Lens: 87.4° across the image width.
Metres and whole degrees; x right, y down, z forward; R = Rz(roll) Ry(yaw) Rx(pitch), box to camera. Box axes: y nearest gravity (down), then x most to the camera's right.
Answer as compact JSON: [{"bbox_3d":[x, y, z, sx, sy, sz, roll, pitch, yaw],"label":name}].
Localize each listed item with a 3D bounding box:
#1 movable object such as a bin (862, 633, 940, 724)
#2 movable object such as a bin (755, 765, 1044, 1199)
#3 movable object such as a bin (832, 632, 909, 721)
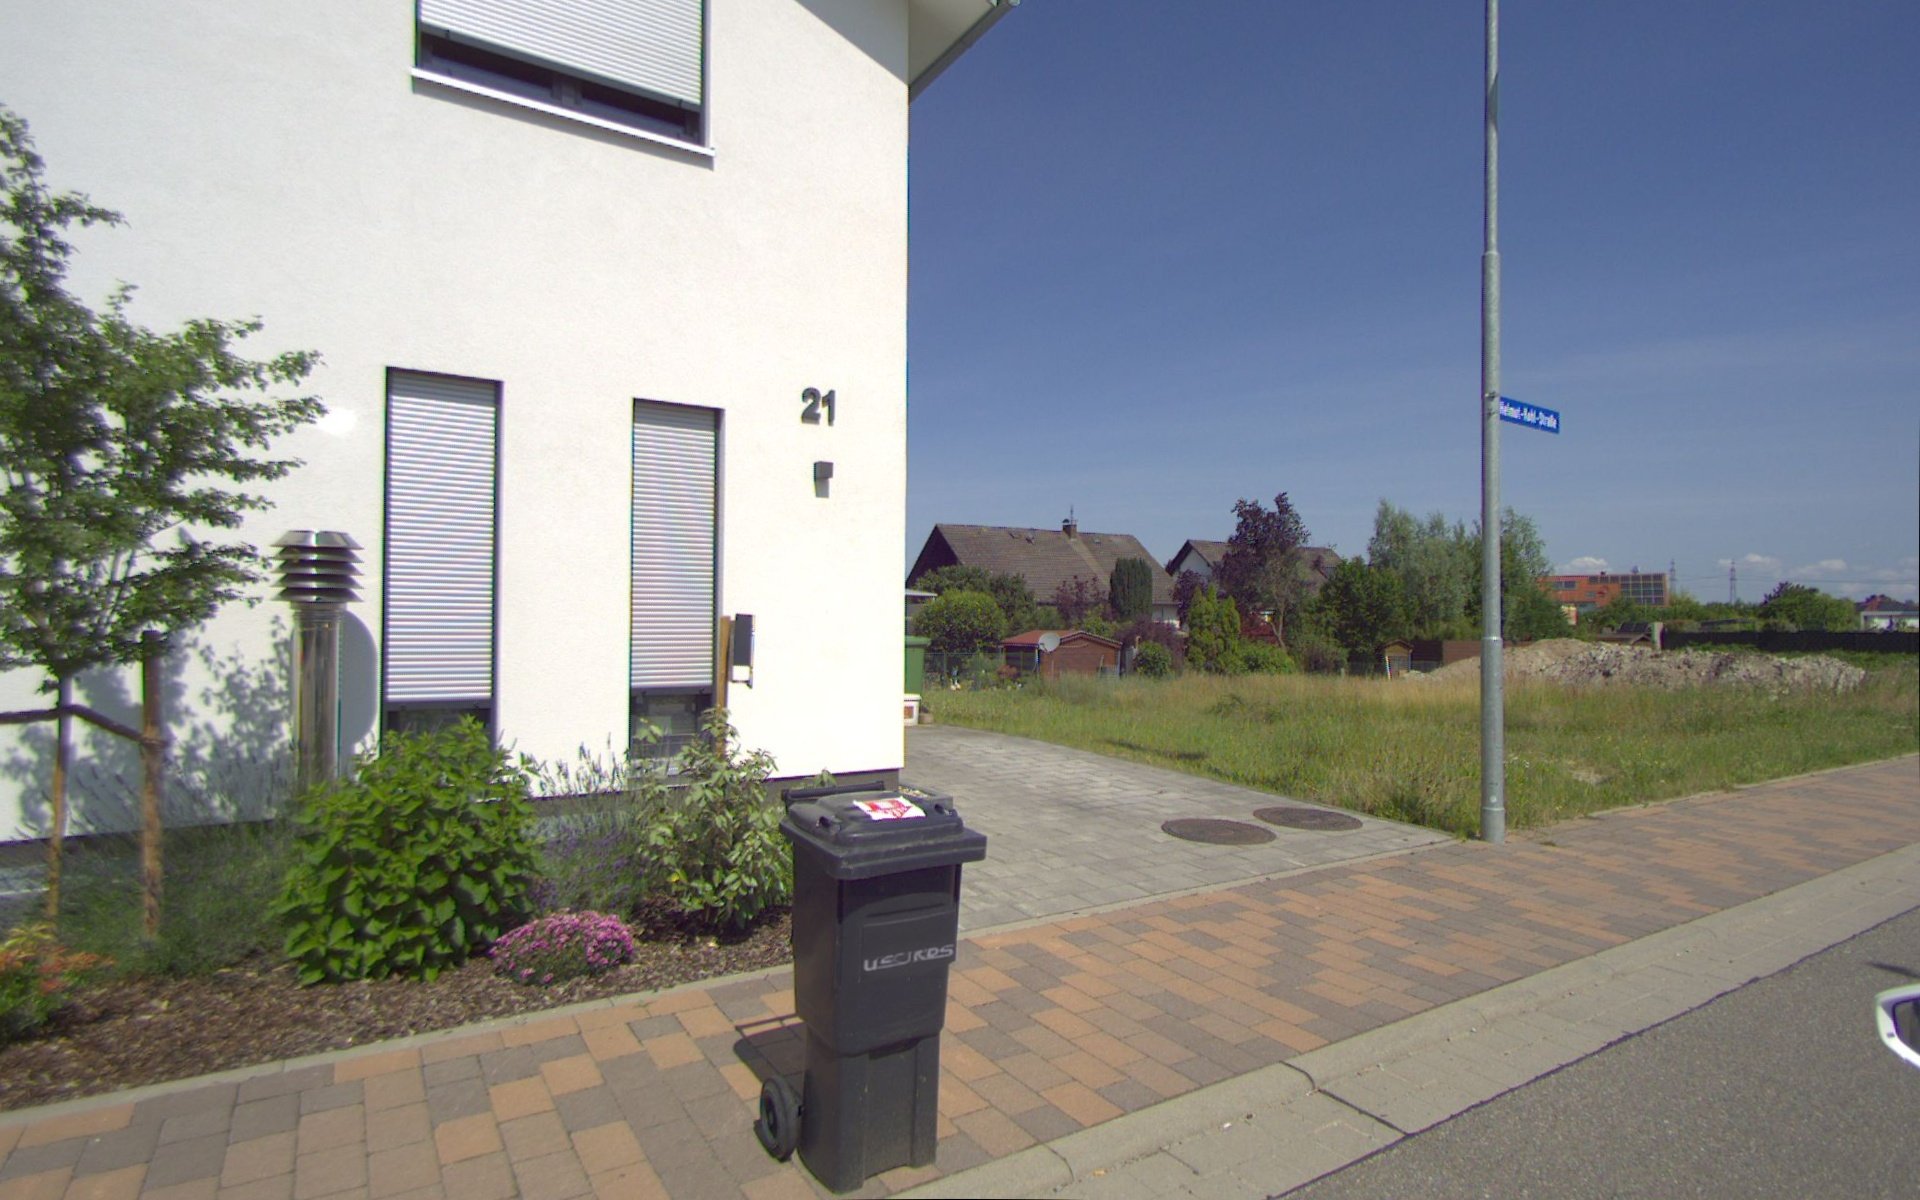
[{"bbox_3d":[-0.747,0.979,12.741,0.776,1.113,0.656,1,-3,-33],"label":"movable object such as a bin"},{"bbox_3d":[-0.172,0.971,2.668,0.495,0.961,0.618,3,-2,-37],"label":"movable object such as a bin"},{"bbox_3d":[-1.179,0.989,13.202,0.799,1.113,0.666,1,-3,-31],"label":"movable object such as a bin"}]
